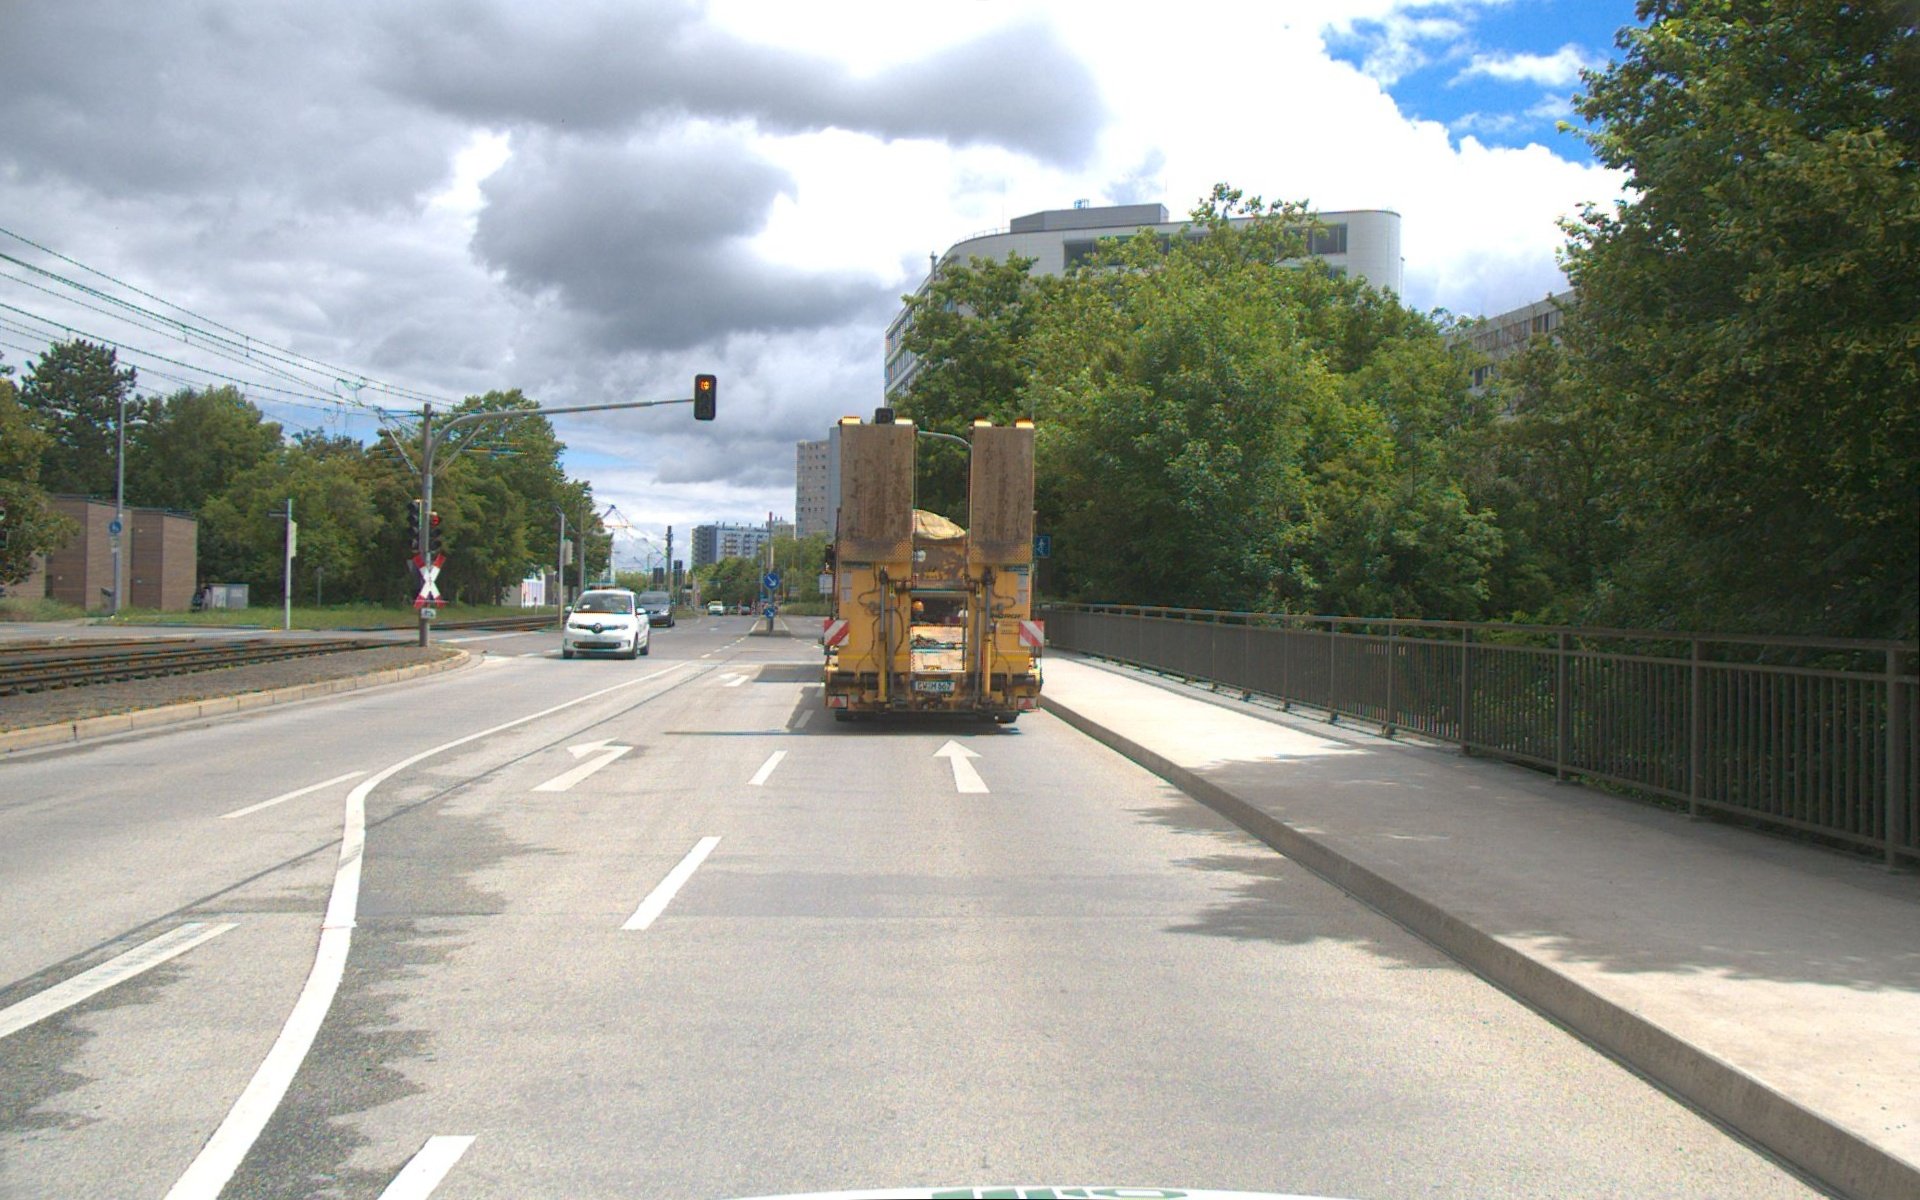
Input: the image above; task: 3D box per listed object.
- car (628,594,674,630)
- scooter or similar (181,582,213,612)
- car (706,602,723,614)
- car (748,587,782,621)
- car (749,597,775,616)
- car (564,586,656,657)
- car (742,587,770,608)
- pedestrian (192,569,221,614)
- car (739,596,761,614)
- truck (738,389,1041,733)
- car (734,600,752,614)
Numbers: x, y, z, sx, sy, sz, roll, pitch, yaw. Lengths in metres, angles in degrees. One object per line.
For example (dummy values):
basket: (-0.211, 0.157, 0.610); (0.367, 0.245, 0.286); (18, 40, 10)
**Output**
car: (-14.310, 0.521, 76.680); (1.749, 1.597, 4.339); (1, 0, -6)
scooter or similar: (-31.978, -0.132, 69.299); (0.873, 1.205, 0.972); (3, 0, -3)
car: (-28.305, 0.897, 191.098); (1.749, 1.294, 4.339); (1, 0, -6)
car: (-12.210, 0.234, 103.785); (1.955, 1.959, 3.996); (3, 0, -5)
car: (-16.341, 0.564, 136.601); (1.955, 1.445, 3.996); (3, 0, -5)
car: (-8.163, 0.482, 38.799); (1.561, 1.553, 3.652); (1, 0, -4)
car: (-15.615, -0.211, 126.640); (1.955, 1.445, 3.996); (3, 0, -5)
pedestrian: (-31.976, -0.361, 70.167); (0.785, 1.843, 0.808); (3, 0, -2)
car: (-20.432, 0.513, 160.937); (1.955, 1.646, 3.996); (3, 0, -5)
truck: (-0.805, -0.422, 24.818); (3.248, 3.714, 12.560); (2, 0, 0)
car: (-21.647, 0.677, 165.081); (1.749, 1.294, 4.339); (1, 0, -6)
